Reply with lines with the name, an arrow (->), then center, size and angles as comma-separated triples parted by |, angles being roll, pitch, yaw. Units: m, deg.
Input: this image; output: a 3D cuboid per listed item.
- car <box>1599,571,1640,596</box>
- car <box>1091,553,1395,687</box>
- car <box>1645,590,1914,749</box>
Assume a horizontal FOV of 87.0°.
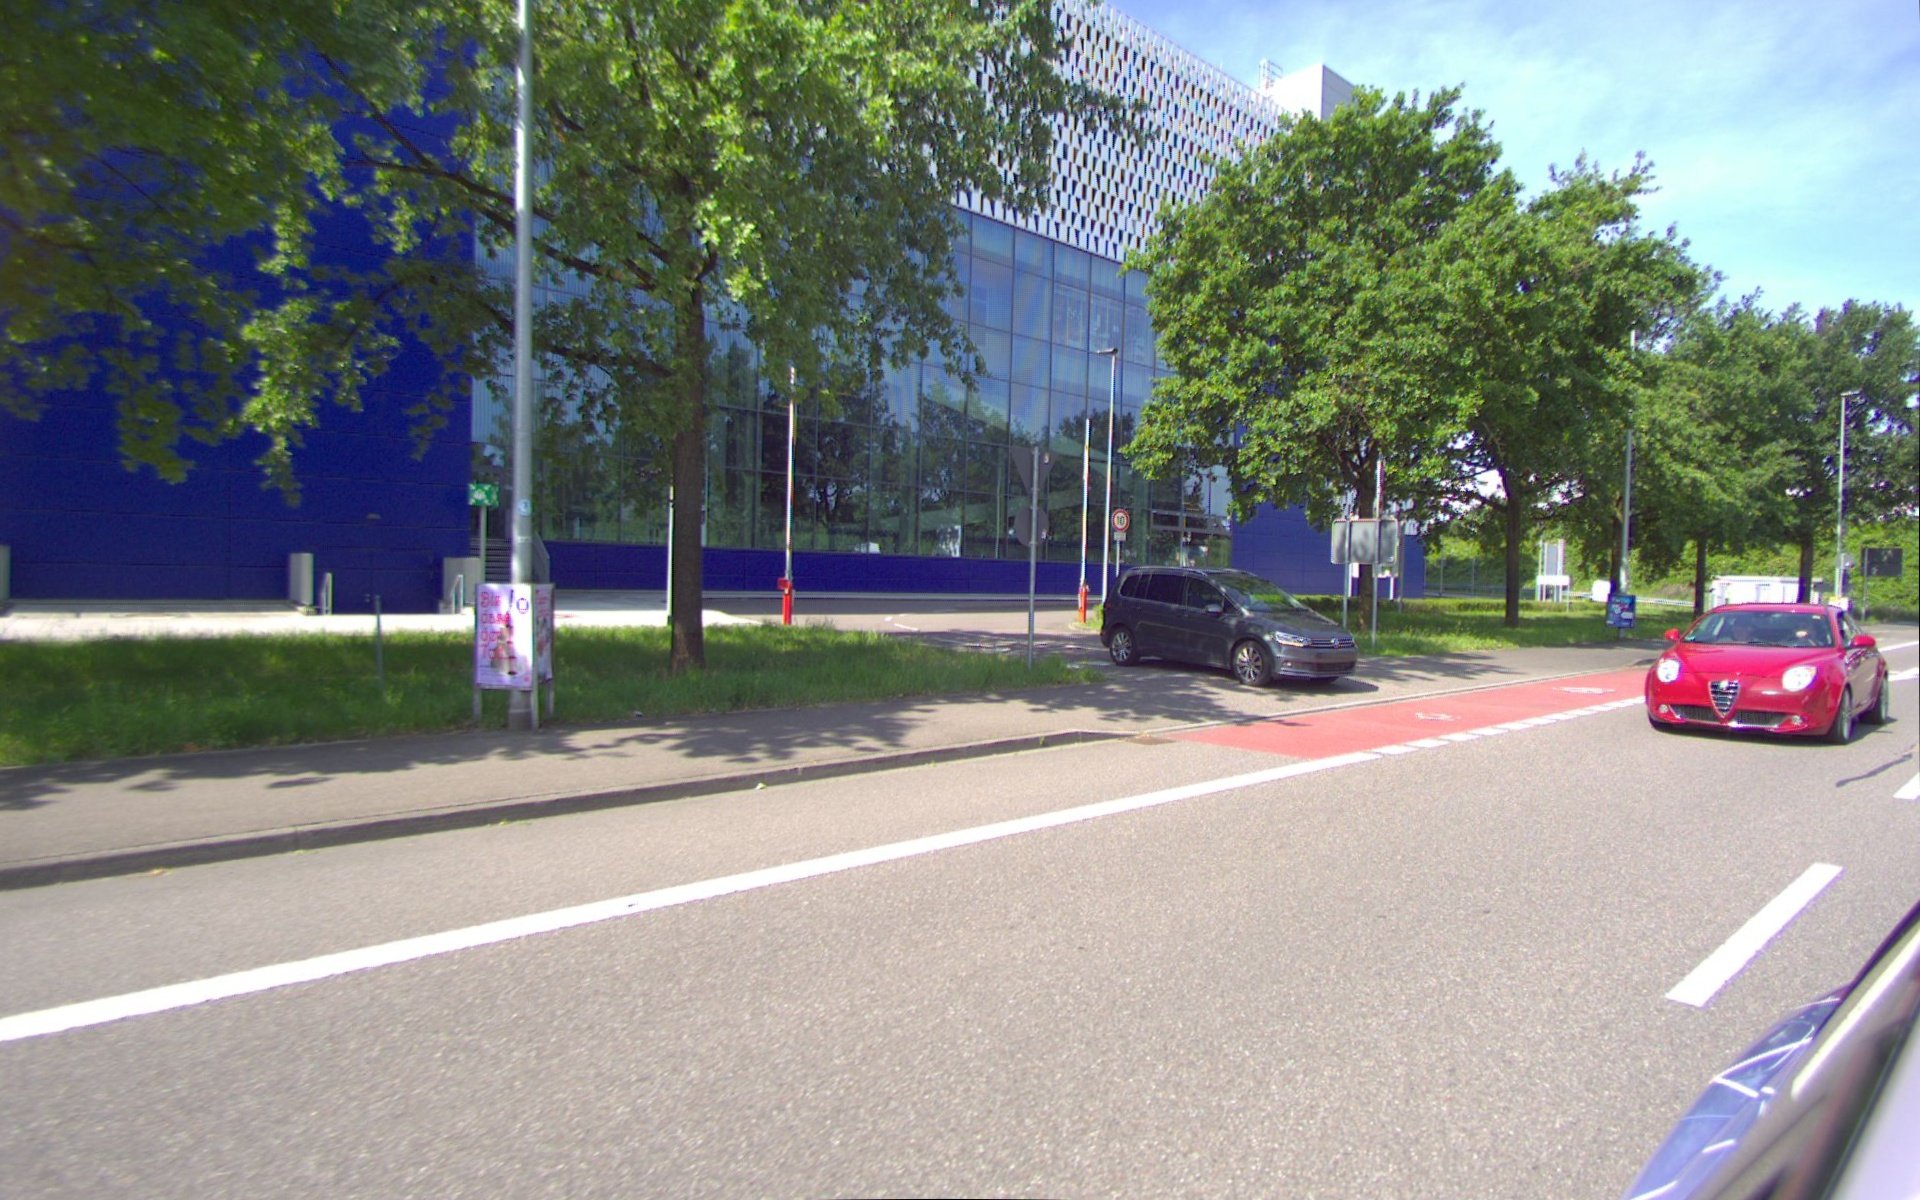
car -> 44.999, -1.131, 68.996 | 1.848, 1.660, 4.241 | 1, 0, 40
car -> 4.232, 0.181, 15.878 | 1.808, 1.714, 4.463 | 0, 3, -33
car -> 9.484, 0.639, 11.615 | 3.911, 1.472, 1.796 | -1, 1, -42
